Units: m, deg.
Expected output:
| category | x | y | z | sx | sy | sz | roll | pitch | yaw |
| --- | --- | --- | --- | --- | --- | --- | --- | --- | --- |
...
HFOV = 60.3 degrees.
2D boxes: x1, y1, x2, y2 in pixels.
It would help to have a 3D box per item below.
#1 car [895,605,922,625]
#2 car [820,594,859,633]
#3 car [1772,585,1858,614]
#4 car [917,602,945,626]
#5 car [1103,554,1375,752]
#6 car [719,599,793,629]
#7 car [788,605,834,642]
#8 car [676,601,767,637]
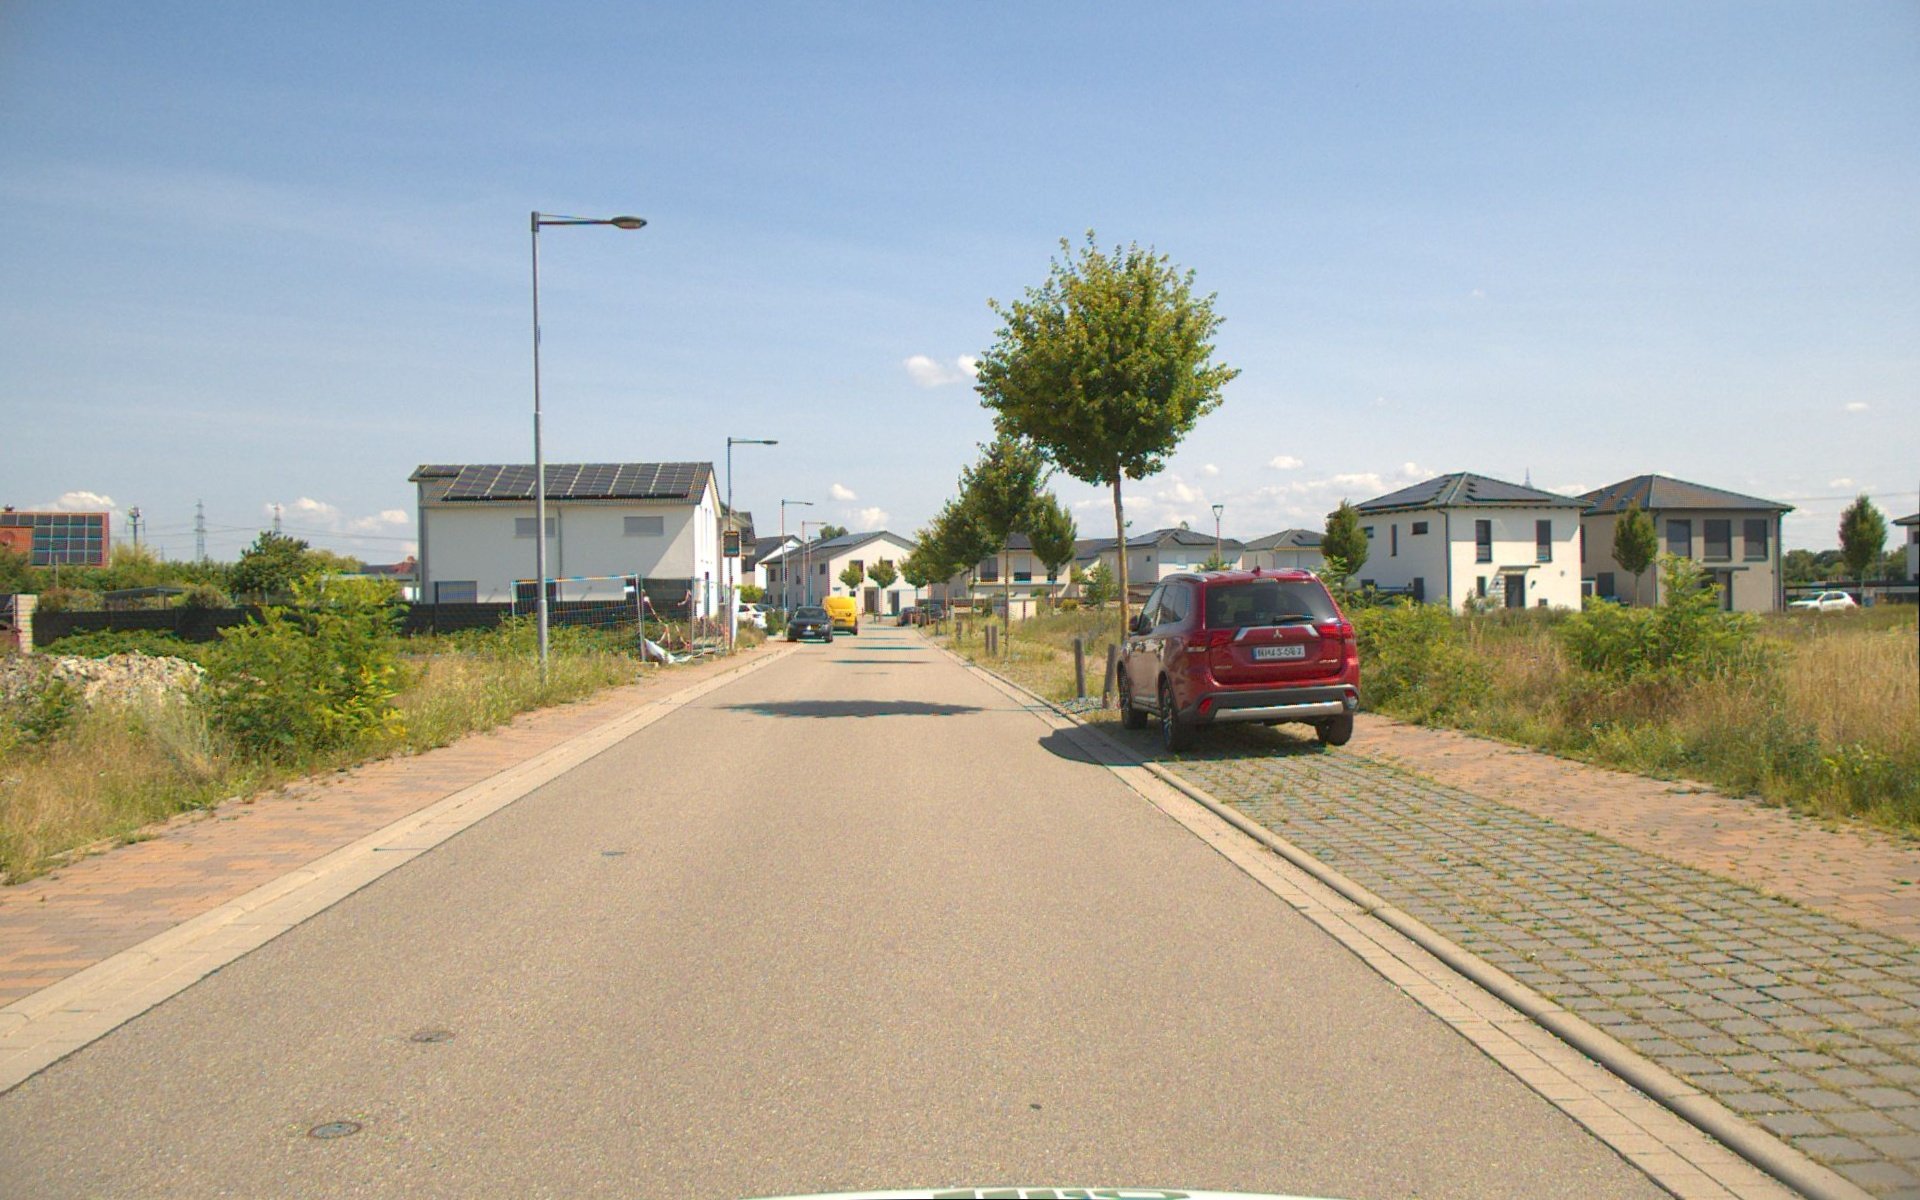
| category | x | y | z | sx | sy | sz | roll | pitch | yaw |
| --- | --- | --- | --- | --- | --- | --- | --- | --- | --- |
| car | -3.998 | 1.174 | 127.428 | 1.598 | 1.346 | 3.824 | -1 | -2 | -9 |
| car | -6.486 | 0.761 | 88.576 | 1.904 | 2.016 | 4.210 | -1 | -1 | -7 |
| car | 45.028 | -0.038 | 87.109 | 3.923 | 1.422 | 1.742 | -1 | -1 | -17 |
| car | -1.919 | 0.946 | 108.912 | 1.607 | 1.427 | 3.807 | -1 | -2 | -4 |
| car | 2.688 | 0.458 | 16.956 | 1.742 | 1.692 | 4.431 | -2 | 0 | -4 |
| car | -12.220 | 0.831 | 99.008 | 4.098 | 1.531 | 1.806 | 3 | -2 | -19 |
| car | -6.142 | 0.939 | 68.435 | 1.710 | 1.429 | 4.157 | 1 | 0 | -3 |
| car | -11.311 | 0.886 | 78.662 | 3.983 | 1.609 | 1.785 | 0 | 1 | 3 |
